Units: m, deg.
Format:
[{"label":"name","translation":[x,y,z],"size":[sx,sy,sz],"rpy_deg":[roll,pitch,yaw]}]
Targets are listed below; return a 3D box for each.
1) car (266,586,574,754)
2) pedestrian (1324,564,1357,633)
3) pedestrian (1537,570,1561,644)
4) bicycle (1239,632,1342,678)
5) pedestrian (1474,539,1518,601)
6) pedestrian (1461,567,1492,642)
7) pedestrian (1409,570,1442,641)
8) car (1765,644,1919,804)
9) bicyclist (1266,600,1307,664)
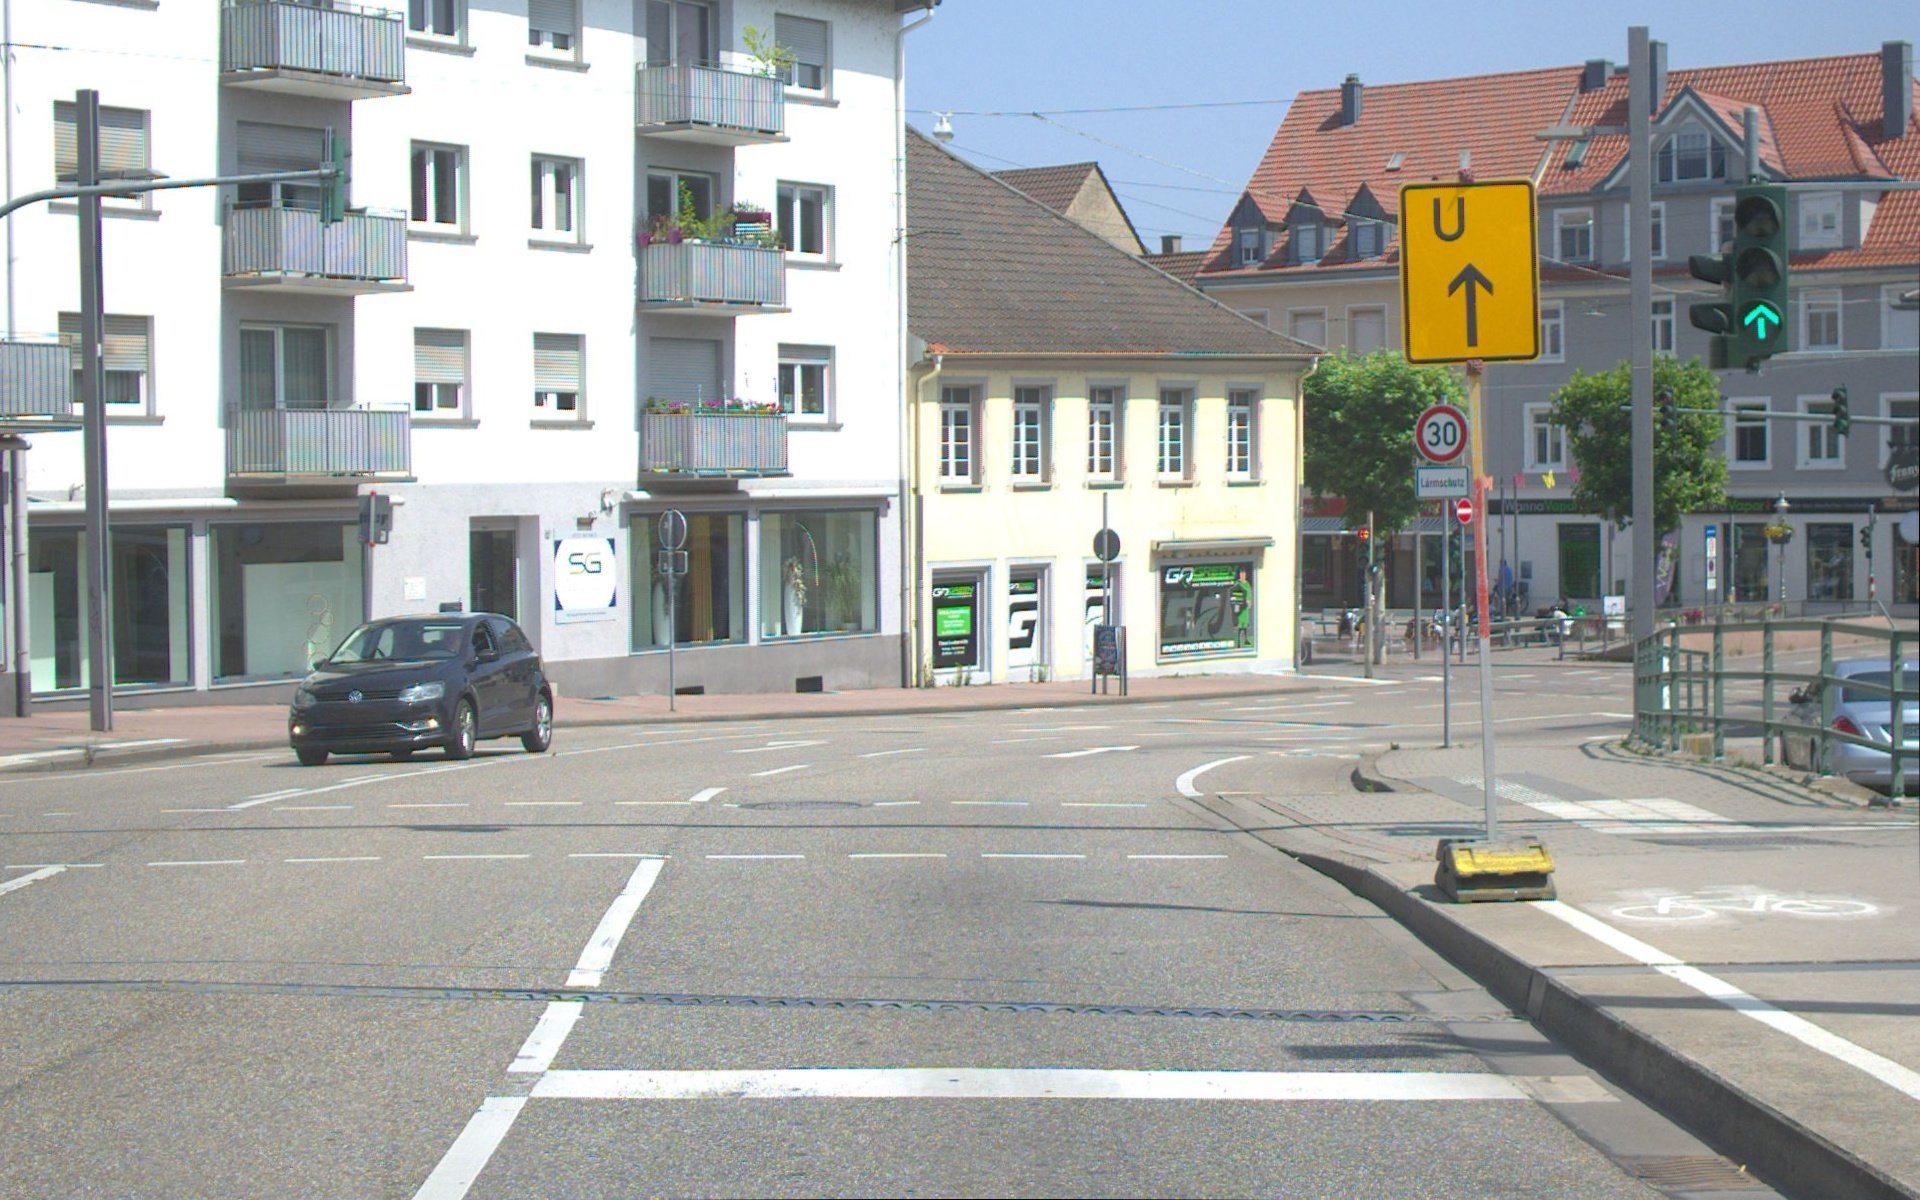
[{"label":"car","translation":[-5.186,0.731,33.513],"size":[1.677,1.483,3.952],"rpy_deg":[-2,-3,11]},{"label":"pedestrian","translation":[10.578,-0.045,95.615],"size":[0.827,1.867,0.866],"rpy_deg":[1,2,4]},{"label":"pedestrian","translation":[16.201,0.176,94.524],"size":[0.610,2.006,0.554],"rpy_deg":[1,2,12]},{"label":"bicycle","translation":[7.999,1.326,83.359],"size":[2.354,1.047,1.071],"rpy_deg":[1,2,-1]},{"label":"pedestrian","translation":[17.293,-0.972,110.864],"size":[1.032,1.974,1.018],"rpy_deg":[2,2,34]},{"label":"pedestrian","translation":[14.117,0.112,93.973],"size":[0.769,2.006,0.562],"rpy_deg":[1,2,12]},{"label":"pedestrian","translation":[13.010,0.151,96.060],"size":[0.797,1.958,0.531],"rpy_deg":[1,2,20]},{"label":"car","translation":[9.515,1.239,35.523],"size":[1.752,1.466,4.252],"rpy_deg":[1,0,6]},{"label":"bicyclist","translation":[7.920,0.775,83.356],"size":[0.917,1.533,0.649],"rpy_deg":[1,2,0]}]
